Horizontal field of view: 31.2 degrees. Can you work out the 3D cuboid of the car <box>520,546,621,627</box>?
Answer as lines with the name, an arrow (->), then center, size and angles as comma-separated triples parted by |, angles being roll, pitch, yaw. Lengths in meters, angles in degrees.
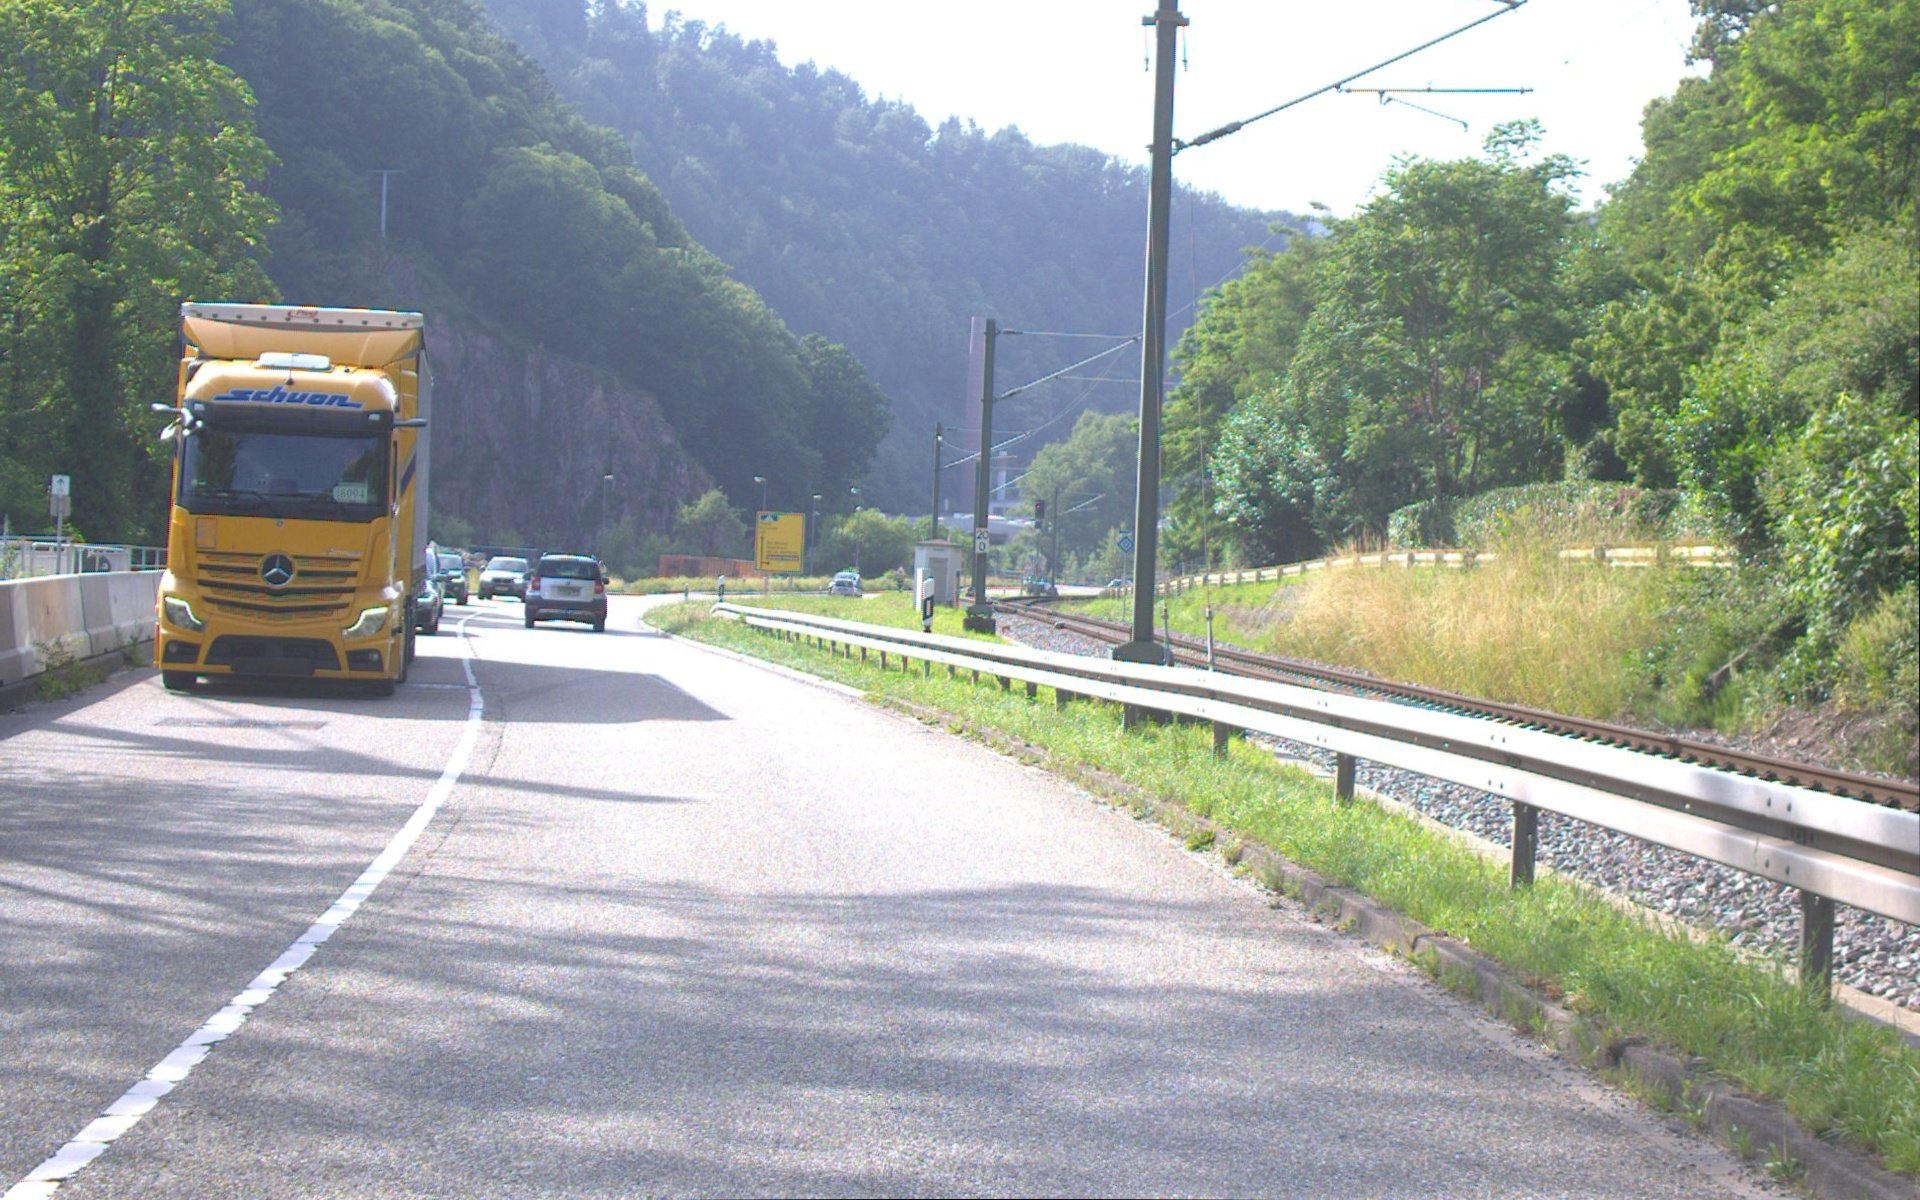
car -> -8.677, -0.307, 76.310 | 1.993, 1.718, 3.991 | 1, 0, -9

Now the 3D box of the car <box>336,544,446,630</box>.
car -> -10.651, -0.263, 64.598 | 1.836, 1.491, 4.937 | 2, 0, -8

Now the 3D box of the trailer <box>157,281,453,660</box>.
trailer -> -7.996, -1.483, 43.525 | 2.856, 3.999, 13.674 | 1, 1, -8

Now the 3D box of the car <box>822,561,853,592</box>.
car -> -8.298, -1.593, 232.885 | 1.993, 2.007, 4.000 | 1, 1, -1

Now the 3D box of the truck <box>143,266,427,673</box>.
truck -> -7.254, -1.349, 37.585 | 2.740, 4.014, 6.413 | 1, 1, -9

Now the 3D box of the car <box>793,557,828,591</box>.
car -> -9.000, -1.546, 207.145 | 1.993, 2.007, 4.000 | 1, 1, -1

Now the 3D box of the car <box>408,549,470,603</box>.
car -> -16.464, -0.779, 108.623 | 1.798, 1.551, 4.333 | 3, 1, -9

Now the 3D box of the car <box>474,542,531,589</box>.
car -> -17.456, -1.325, 131.141 | 1.993, 1.623, 4.508 | 3, 0, -8
